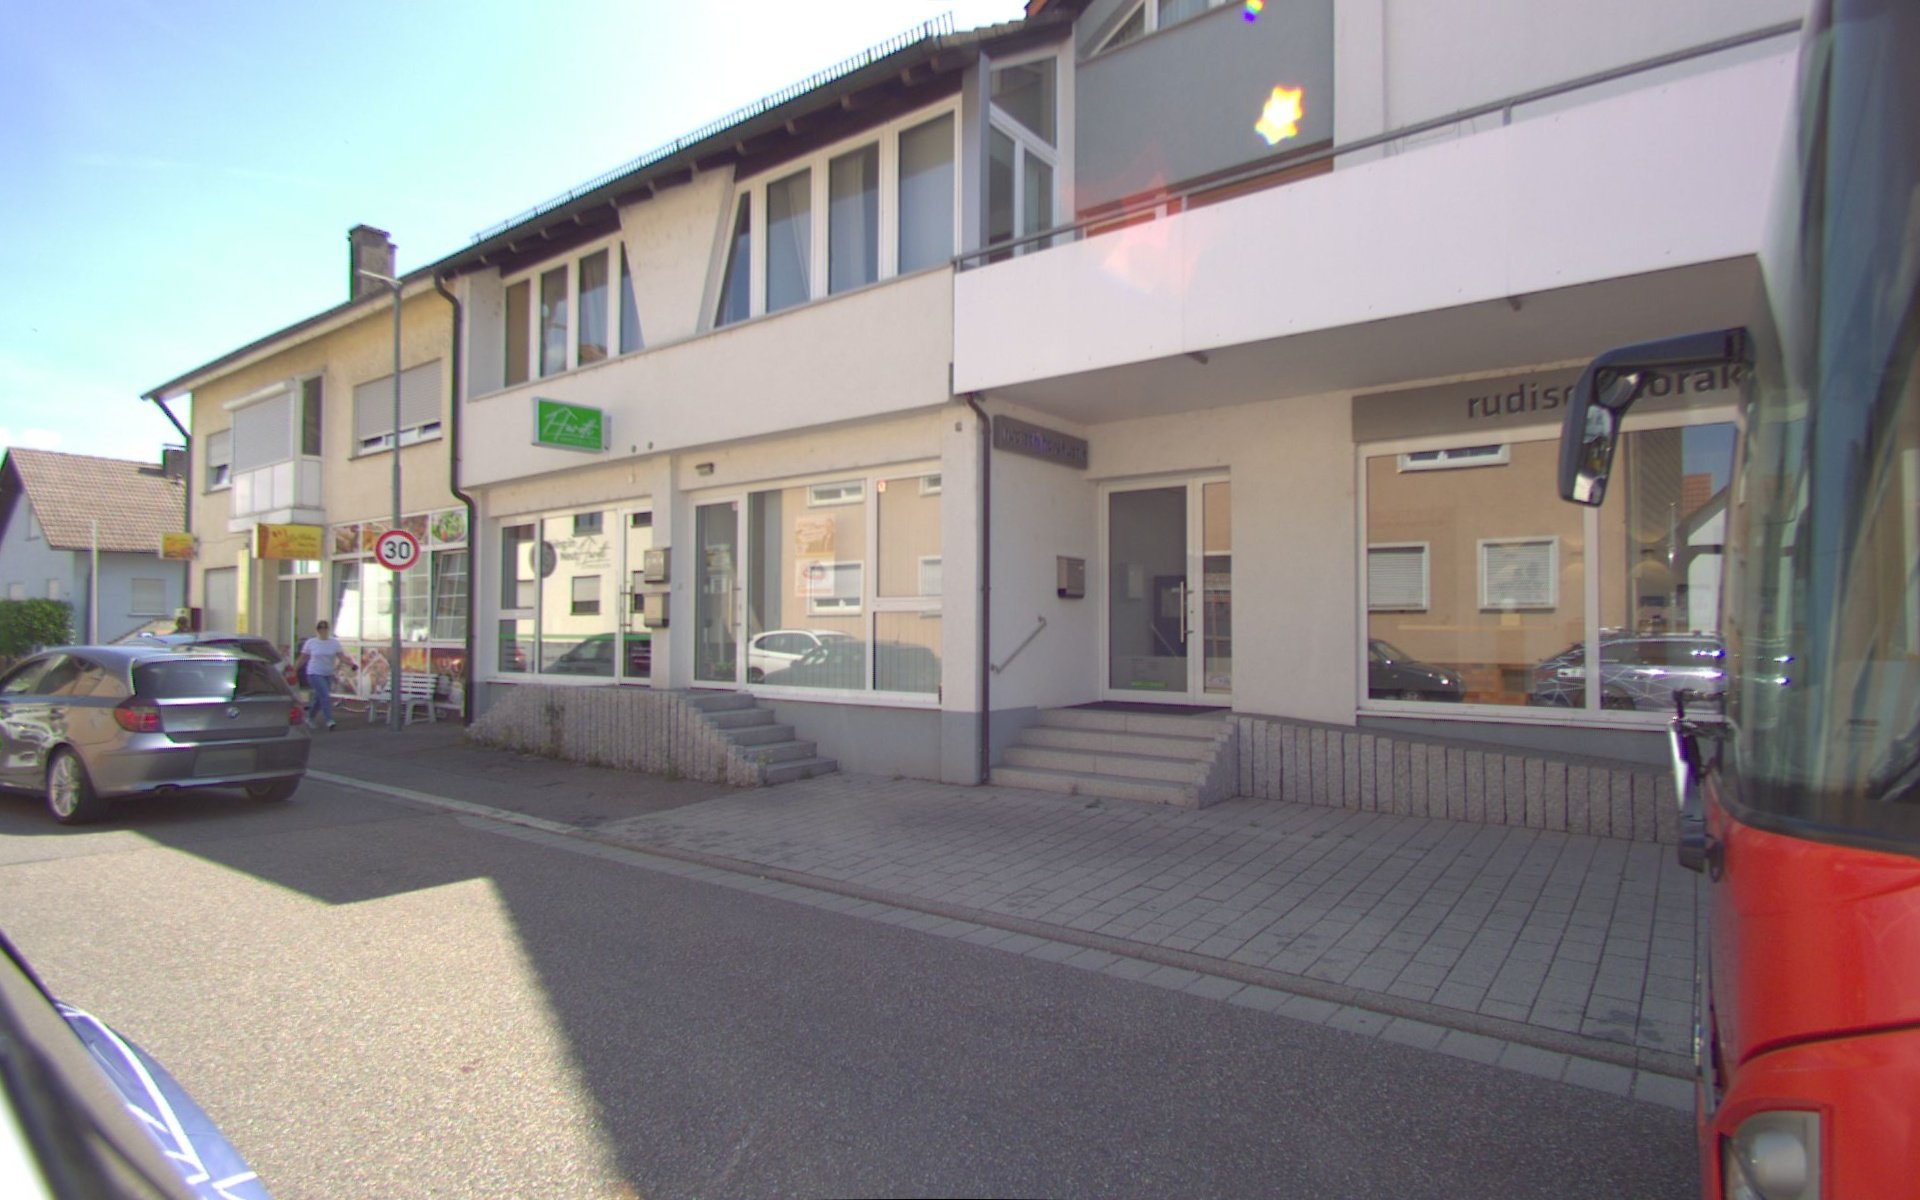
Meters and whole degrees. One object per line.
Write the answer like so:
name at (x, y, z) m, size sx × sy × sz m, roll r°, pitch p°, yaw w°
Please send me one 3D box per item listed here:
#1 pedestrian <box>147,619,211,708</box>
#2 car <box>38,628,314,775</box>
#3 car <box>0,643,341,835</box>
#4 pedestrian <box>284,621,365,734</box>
pedestrian at (-14.669, 1.171, 19.005) m, size 0.955 × 1.595 × 0.748 m, roll -1°, pitch 0°, yaw 39°
car at (-10.245, 1.188, 13.150) m, size 3.991 × 1.527 × 1.729 m, roll -1°, pitch 1°, yaw 36°
car at (-7.687, 1.114, 9.183) m, size 3.850 × 1.408 × 1.749 m, roll -1°, pitch -4°, yaw 27°
pedestrian at (-9.493, 1.128, 15.109) m, size 0.955 × 1.595 × 0.748 m, roll -1°, pitch 0°, yaw 39°
